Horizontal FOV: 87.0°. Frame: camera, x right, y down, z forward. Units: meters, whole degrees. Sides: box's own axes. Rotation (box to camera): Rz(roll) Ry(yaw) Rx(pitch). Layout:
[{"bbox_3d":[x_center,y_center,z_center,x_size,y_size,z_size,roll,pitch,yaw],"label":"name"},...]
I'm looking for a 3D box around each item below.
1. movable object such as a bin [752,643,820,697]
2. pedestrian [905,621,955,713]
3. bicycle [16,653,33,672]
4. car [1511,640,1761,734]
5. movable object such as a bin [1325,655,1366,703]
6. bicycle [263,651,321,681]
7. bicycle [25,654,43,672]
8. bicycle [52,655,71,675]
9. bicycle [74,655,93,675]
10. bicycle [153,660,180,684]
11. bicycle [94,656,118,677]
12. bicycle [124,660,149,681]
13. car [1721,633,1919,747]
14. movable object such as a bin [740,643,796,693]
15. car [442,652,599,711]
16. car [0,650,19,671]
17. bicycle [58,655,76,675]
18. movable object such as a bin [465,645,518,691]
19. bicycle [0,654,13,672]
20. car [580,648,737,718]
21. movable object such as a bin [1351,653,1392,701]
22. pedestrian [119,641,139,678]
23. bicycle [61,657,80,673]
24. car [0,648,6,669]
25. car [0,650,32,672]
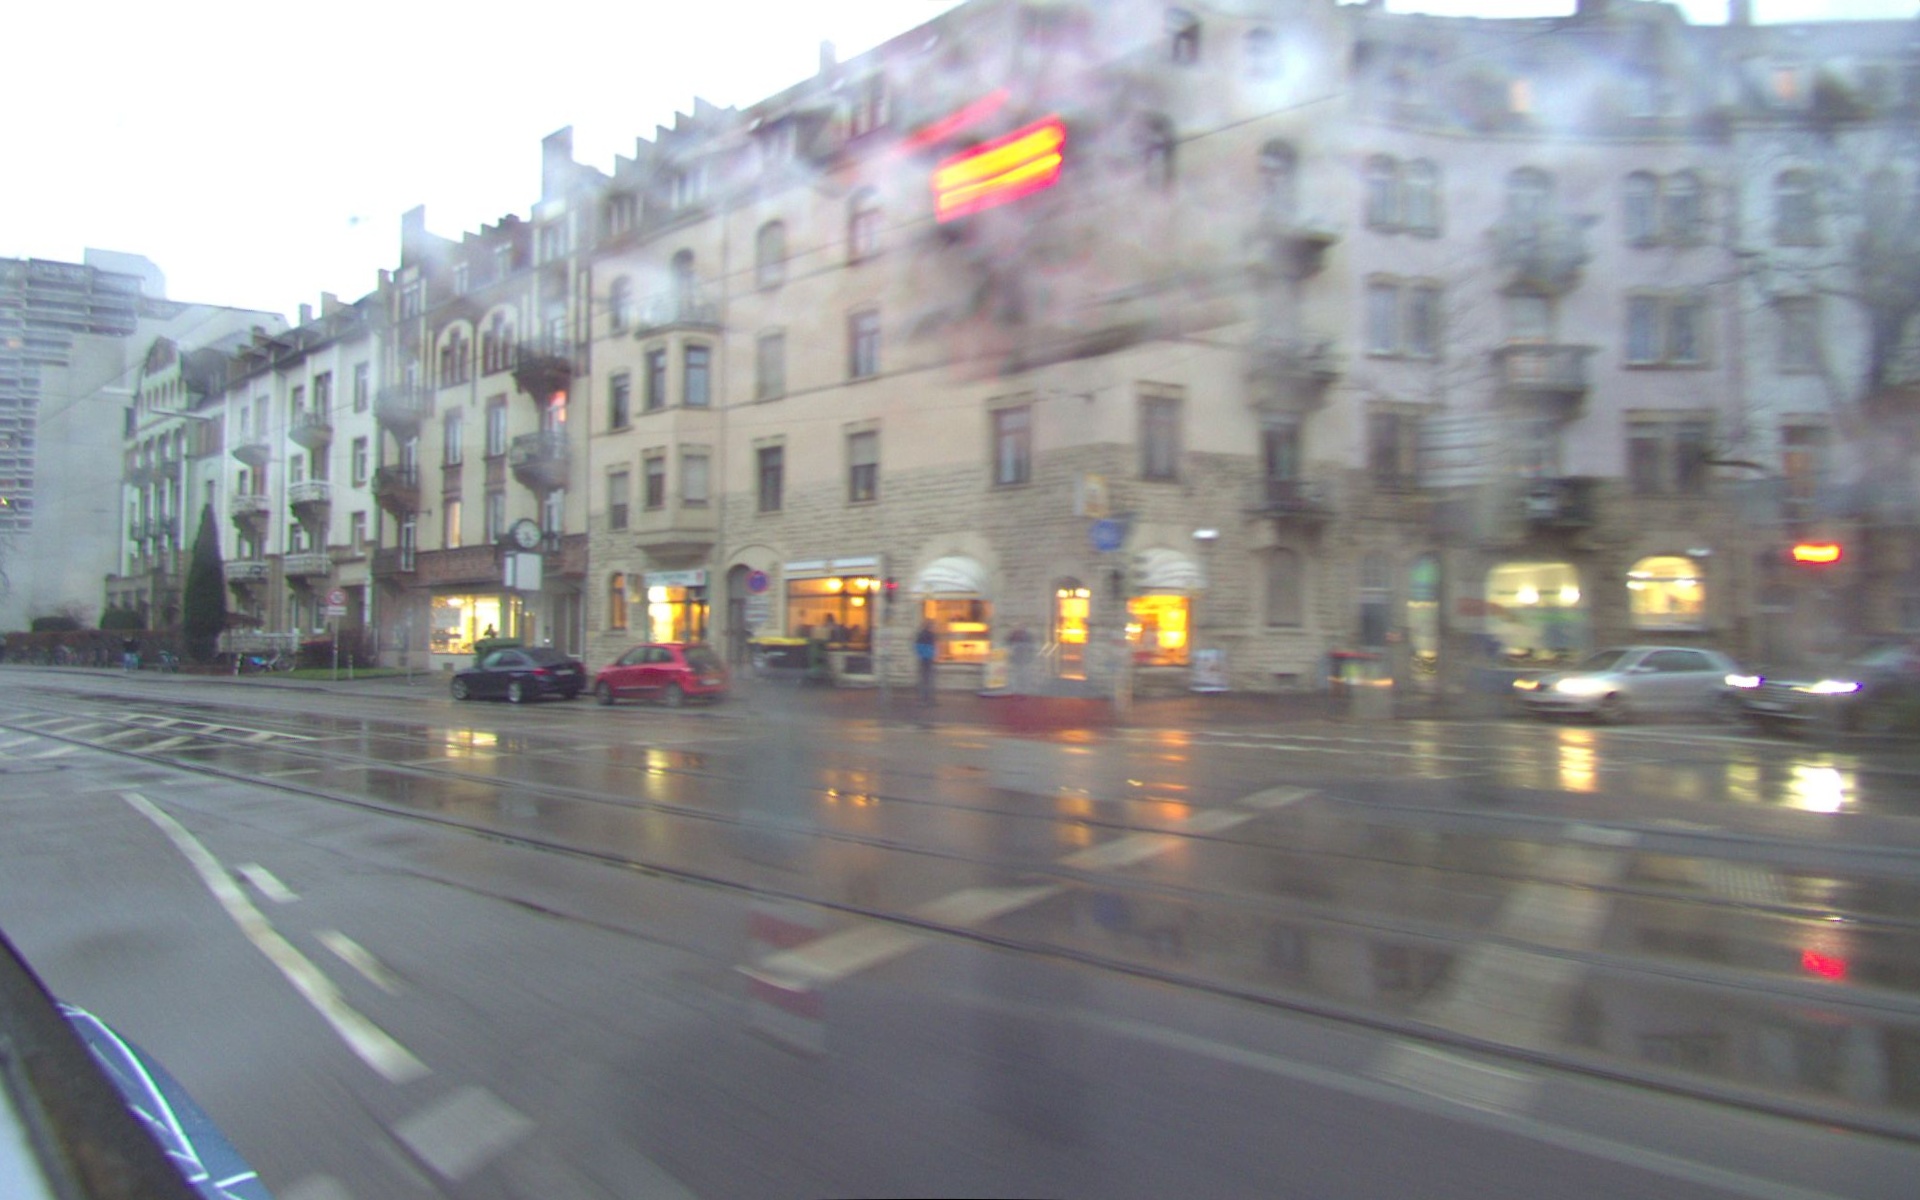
[{"bbox_3d":[-4.850,1.920,28.199,1.278,1.382,1.337,-2,0,35],"label":"movable object such as a bin"},{"bbox_3d":[-0.651,1.408,21.693,0.784,1.892,0.897,-2,0,-18],"label":"pedestrian"},{"bbox_3d":[-54.749,3.646,59.205,1.878,1.014,0.430,-2,-1,38],"label":"bicycle"},{"bbox_3d":[12.713,1.598,19.135,3.765,1.483,1.617,-2,0,-8],"label":"car"},{"bbox_3d":[9.357,1.902,24.577,0.638,1.144,0.694,1,-3,-17],"label":"movable object such as a bin"},{"bbox_3d":[-28.389,2.791,43.027,0.530,1.167,1.967,-2,0,35],"label":"bicycle"},{"bbox_3d":[-53.114,3.612,58.044,1.878,1.014,0.430,-2,-1,38],"label":"bicycle"},{"bbox_3d":[-48.906,3.519,55.066,1.878,1.014,0.430,-2,-1,38],"label":"bicycle"},{"bbox_3d":[-45.570,3.384,52.631,1.710,1.014,0.430,-2,-1,38],"label":"bicycle"},{"bbox_3d":[-34.817,3.145,44.384,2.085,0.947,0.524,-2,0,41],"label":"bicycle"},{"bbox_3d":[-42.844,3.338,50.751,2.206,1.014,0.479,-2,0,38],"label":"bicycle"},{"bbox_3d":[-38.560,3.288,47.380,2.208,0.896,0.524,-2,0,41],"label":"bicycle"},{"bbox_3d":[15.024,1.372,16.151,4.280,1.595,1.938,-1,-1,-2],"label":"car"},{"bbox_3d":[-5.592,1.958,29.494,1.272,1.382,0.993,-2,0,35],"label":"movable object such as a bin"},{"bbox_3d":[-12.076,2.185,27.728,4.496,1.400,1.787,-2,0,33],"label":"car"},{"bbox_3d":[-65.930,4.083,67.932,1.724,1.424,3.794,-3,-4,37],"label":"car"},{"bbox_3d":[-47.448,3.438,53.790,1.603,1.014,0.430,-2,-1,38],"label":"bicycle"},{"bbox_3d":[-15.676,2.249,33.898,1.071,1.442,1.226,-2,0,35],"label":"movable object such as a bin"},{"bbox_3d":[-58.693,3.853,62.165,1.878,1.014,0.464,-2,0,38],"label":"bicycle"},{"bbox_3d":[-7.470,1.994,25.030,3.665,1.528,1.660,-2,0,31],"label":"car"},{"bbox_3d":[10.051,1.874,24.736,0.638,1.144,0.655,1,-3,-17],"label":"movable object such as a bin"},{"bbox_3d":[-37.542,2.688,45.739,0.448,1.654,0.567,-2,-1,34],"label":"pedestrian"},{"bbox_3d":[-47.116,3.436,53.584,1.765,0.838,0.437,-2,0,38],"label":"bicycle"},{"bbox_3d":[-68.284,4.104,69.463,1.724,1.424,3.795,-2,0,37],"label":"car"},{"bbox_3d":[-63.687,4.022,66.479,1.724,1.424,3.794,-2,-3,37],"label":"car"}]
